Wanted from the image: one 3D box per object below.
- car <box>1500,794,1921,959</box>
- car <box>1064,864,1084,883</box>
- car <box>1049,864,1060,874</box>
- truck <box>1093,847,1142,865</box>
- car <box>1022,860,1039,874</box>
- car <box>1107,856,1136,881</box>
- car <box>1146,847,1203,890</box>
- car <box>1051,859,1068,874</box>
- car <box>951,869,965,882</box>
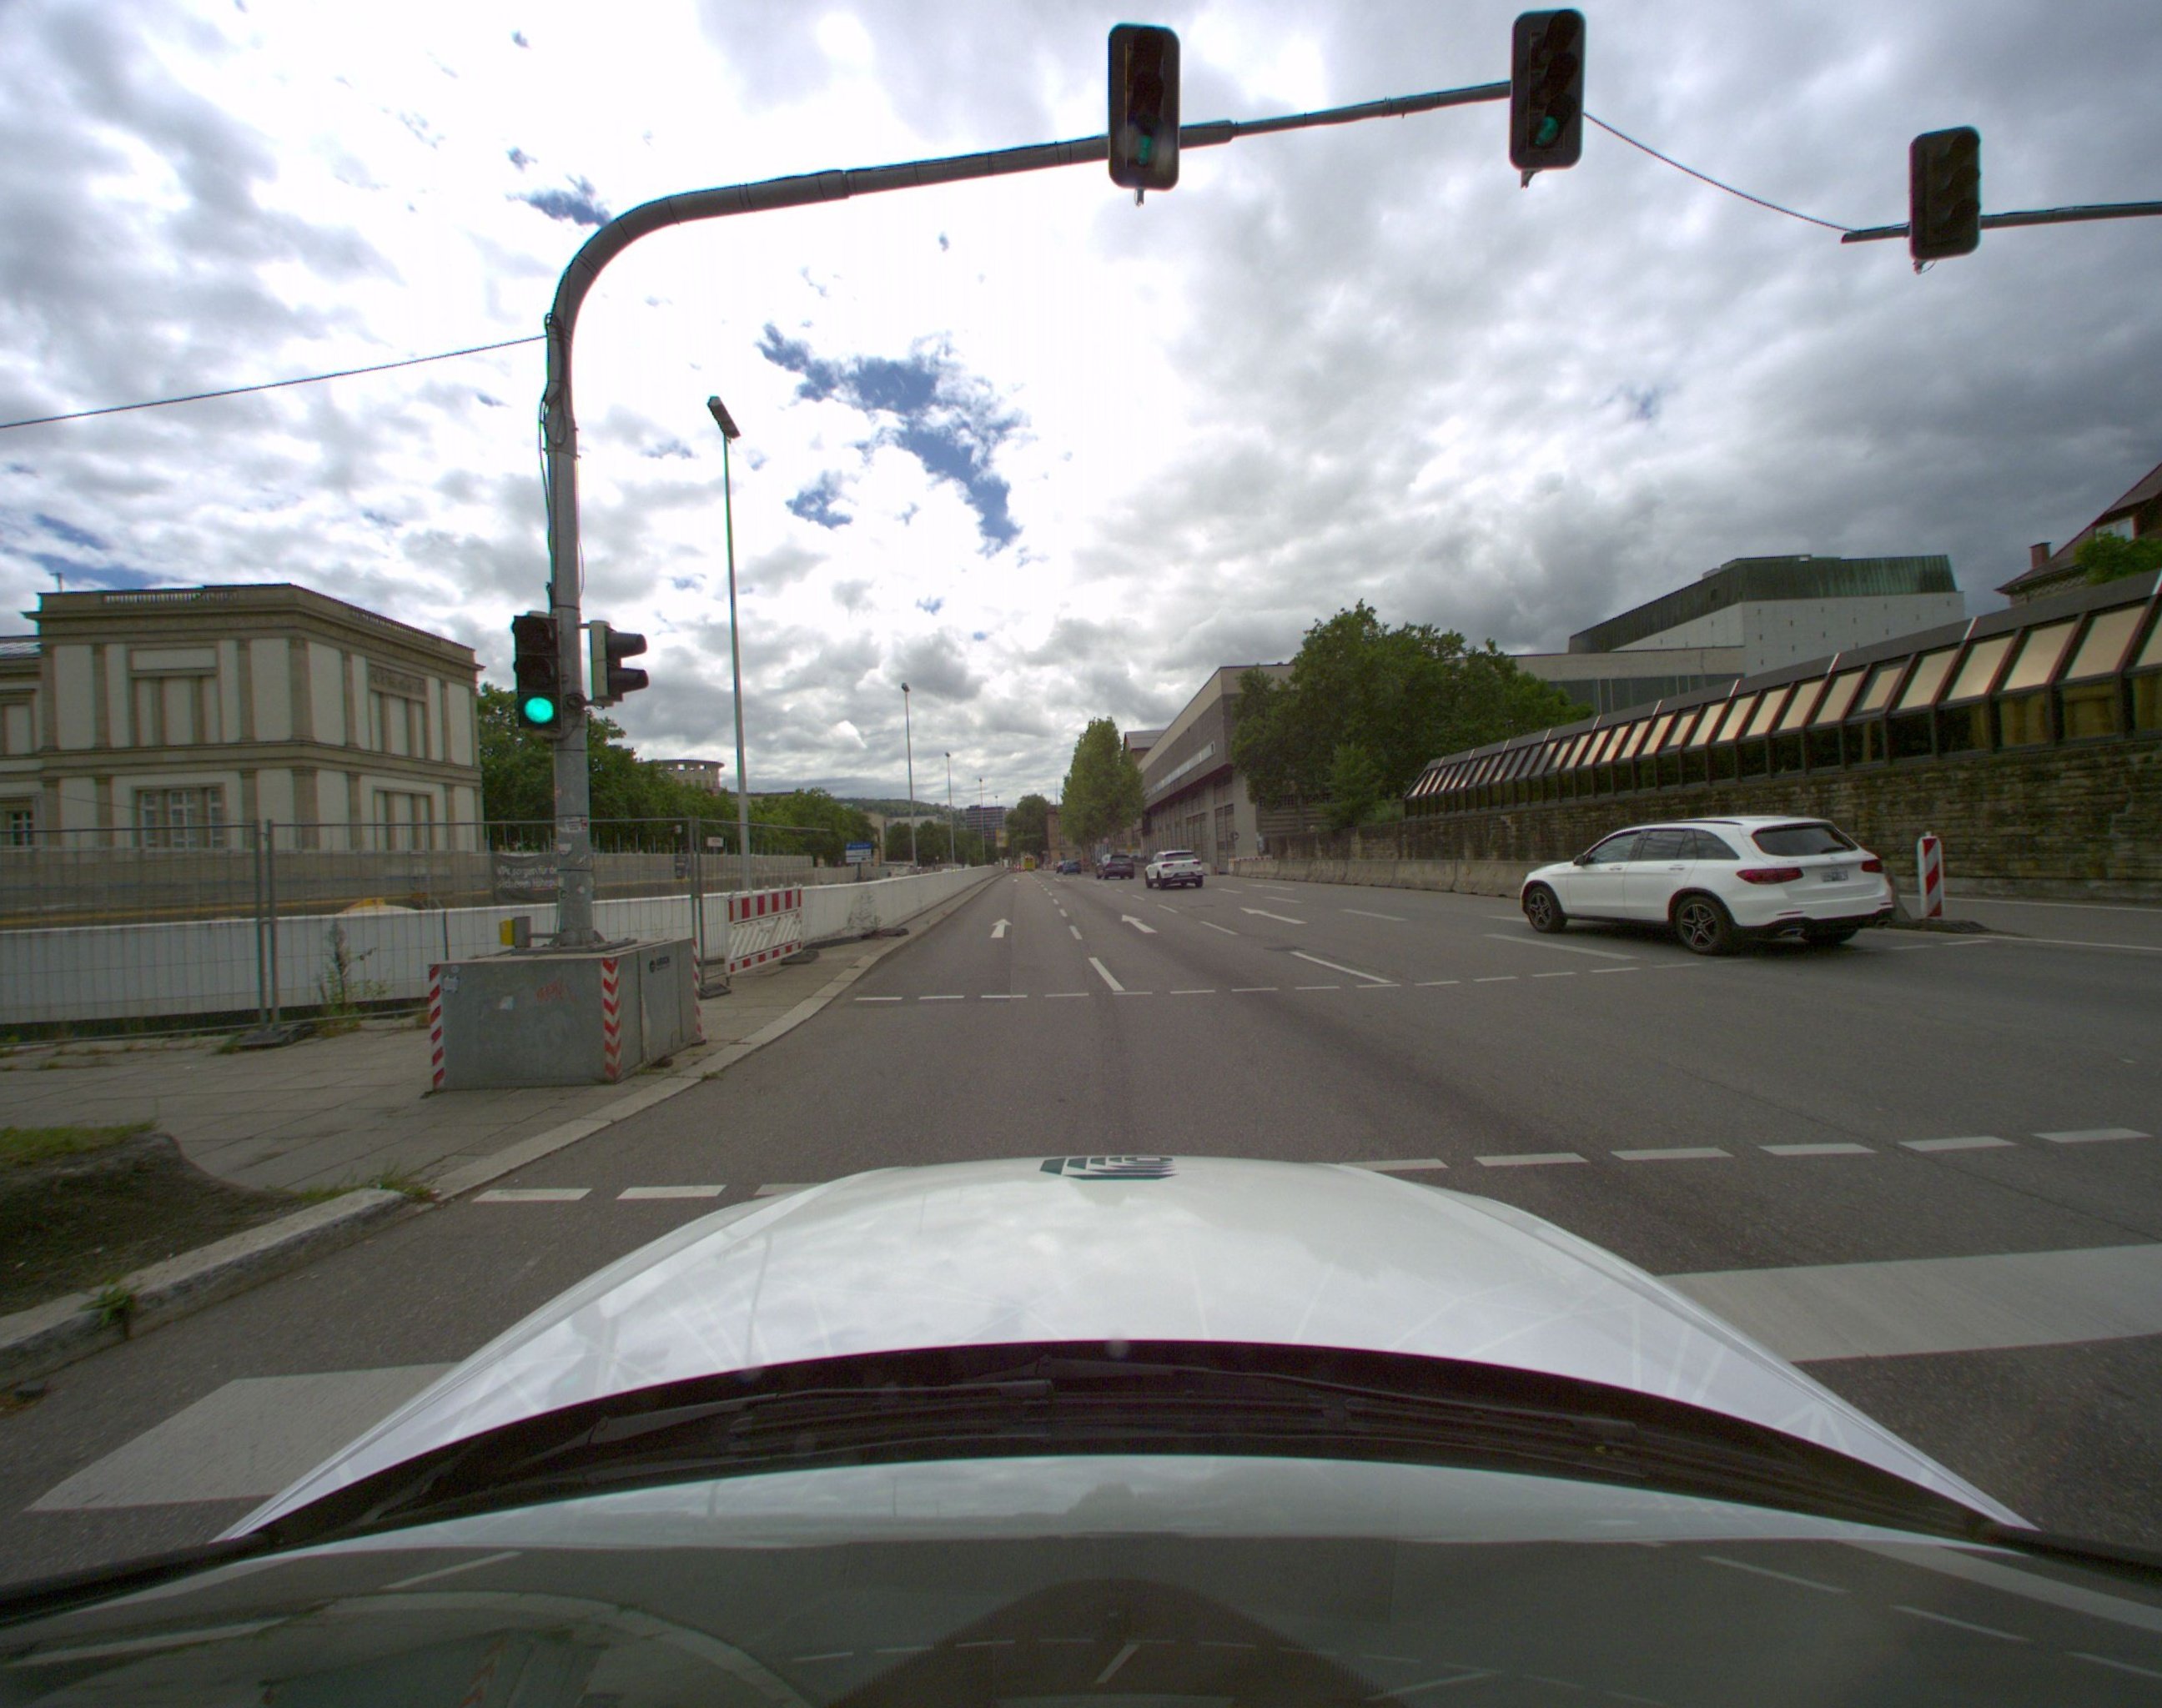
[{"bbox_3d":[8.109,0.254,11.200,1.810,1.642,4.540,-5,0,-7],"label":"car"},{"bbox_3d":[-0.667,1.928,82.147,1.817,1.740,4.479,-4,-1,1],"label":"car"},{"bbox_3d":[-4.913,2.765,152.831,1.817,1.740,4.479,-4,-1,1],"label":"car"},{"bbox_3d":[7.717,0.439,172.607,10.010,3.051,2.565,-3,-2,-4],"label":"truck"},{"bbox_3d":[-9.208,2.338,149.913,2.574,2.374,5.525,-4,-1,0],"label":"car"},{"bbox_3d":[2.718,0.924,54.181,1.815,1.568,4.485,1,0,4],"label":"car"},{"bbox_3d":[3.881,0.581,34.436,1.746,1.567,4.329,-4,0,-1],"label":"car"},{"bbox_3d":[-2.677,1.572,102.253,1.817,1.740,4.479,-4,-1,1],"label":"car"},{"bbox_3d":[-21.656,3.752,143.323,1.990,2.013,3.994,-3,0,-5],"label":"car"}]
